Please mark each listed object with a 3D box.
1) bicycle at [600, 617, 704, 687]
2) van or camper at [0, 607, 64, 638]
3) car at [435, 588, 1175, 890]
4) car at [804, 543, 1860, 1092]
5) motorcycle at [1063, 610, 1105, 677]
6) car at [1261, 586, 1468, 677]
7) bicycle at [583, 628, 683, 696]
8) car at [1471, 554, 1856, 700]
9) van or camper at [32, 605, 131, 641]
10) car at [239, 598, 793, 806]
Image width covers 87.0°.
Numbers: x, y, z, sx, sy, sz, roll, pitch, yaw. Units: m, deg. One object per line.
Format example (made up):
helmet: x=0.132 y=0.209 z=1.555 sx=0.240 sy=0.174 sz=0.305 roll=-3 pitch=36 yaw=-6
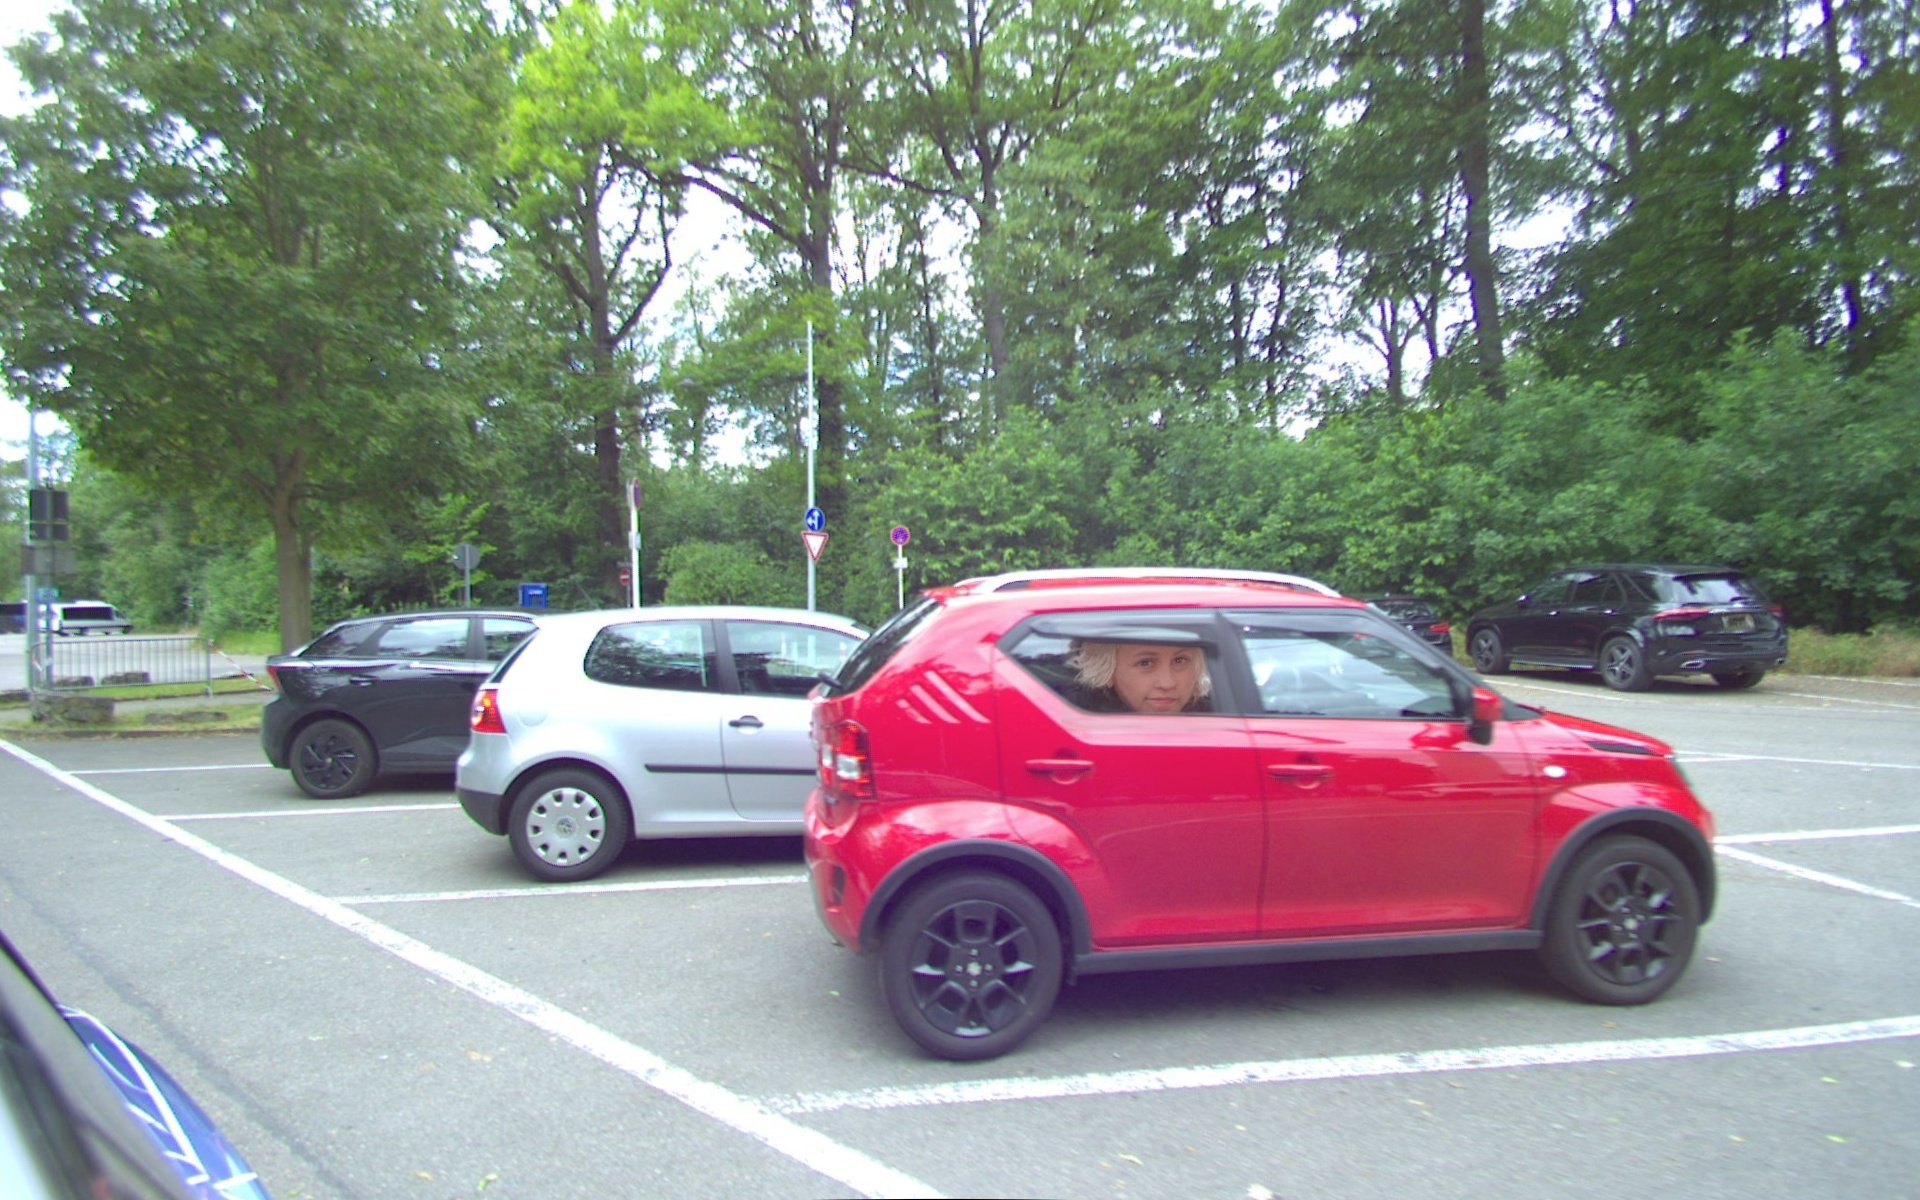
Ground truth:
bicycle: x=-5.280 y=0.870 z=17.416 sx=1.660 sy=1.120 sz=0.506 roll=-1 pitch=0 yaw=-45
van or camper: x=-93.315 y=2.198 z=100.315 sx=2.176 sy=2.871 sz=7.331 roll=-1 pitch=0 yaw=4
car: x=-0.879 y=0.716 z=6.409 sx=3.937 sy=1.495 sz=1.880 roll=-1 pitch=0 yaw=-8
car: x=1.202 y=0.644 z=4.110 sx=3.596 sy=1.597 sz=1.690 roll=-1 pitch=-1 yaw=-8
motorcycle: x=2.398 y=0.822 z=19.766 sx=0.721 sy=1.217 sz=2.026 roll=-1 pitch=0 yaw=5
car: x=6.910 y=0.499 z=17.780 sx=1.713 sy=1.386 sz=4.004 roll=-1 pitch=0 yaw=-5
bicycle: x=-5.925 y=1.102 z=18.387 sx=1.671 sy=1.120 sz=0.483 roll=-1 pitch=0 yaw=-43
car: x=9.983 y=0.357 z=14.988 sx=2.080 sy=1.780 sz=4.714 roll=-1 pitch=-1 yaw=-5
van or camper: x=-74.245 y=1.851 z=85.719 sx=2.039 sy=2.871 sz=7.341 roll=-1 pitch=0 yaw=-1
car: x=-3.605 y=0.789 z=8.832 sx=4.040 sy=1.534 sz=1.832 roll=-1 pitch=0 yaw=-3
